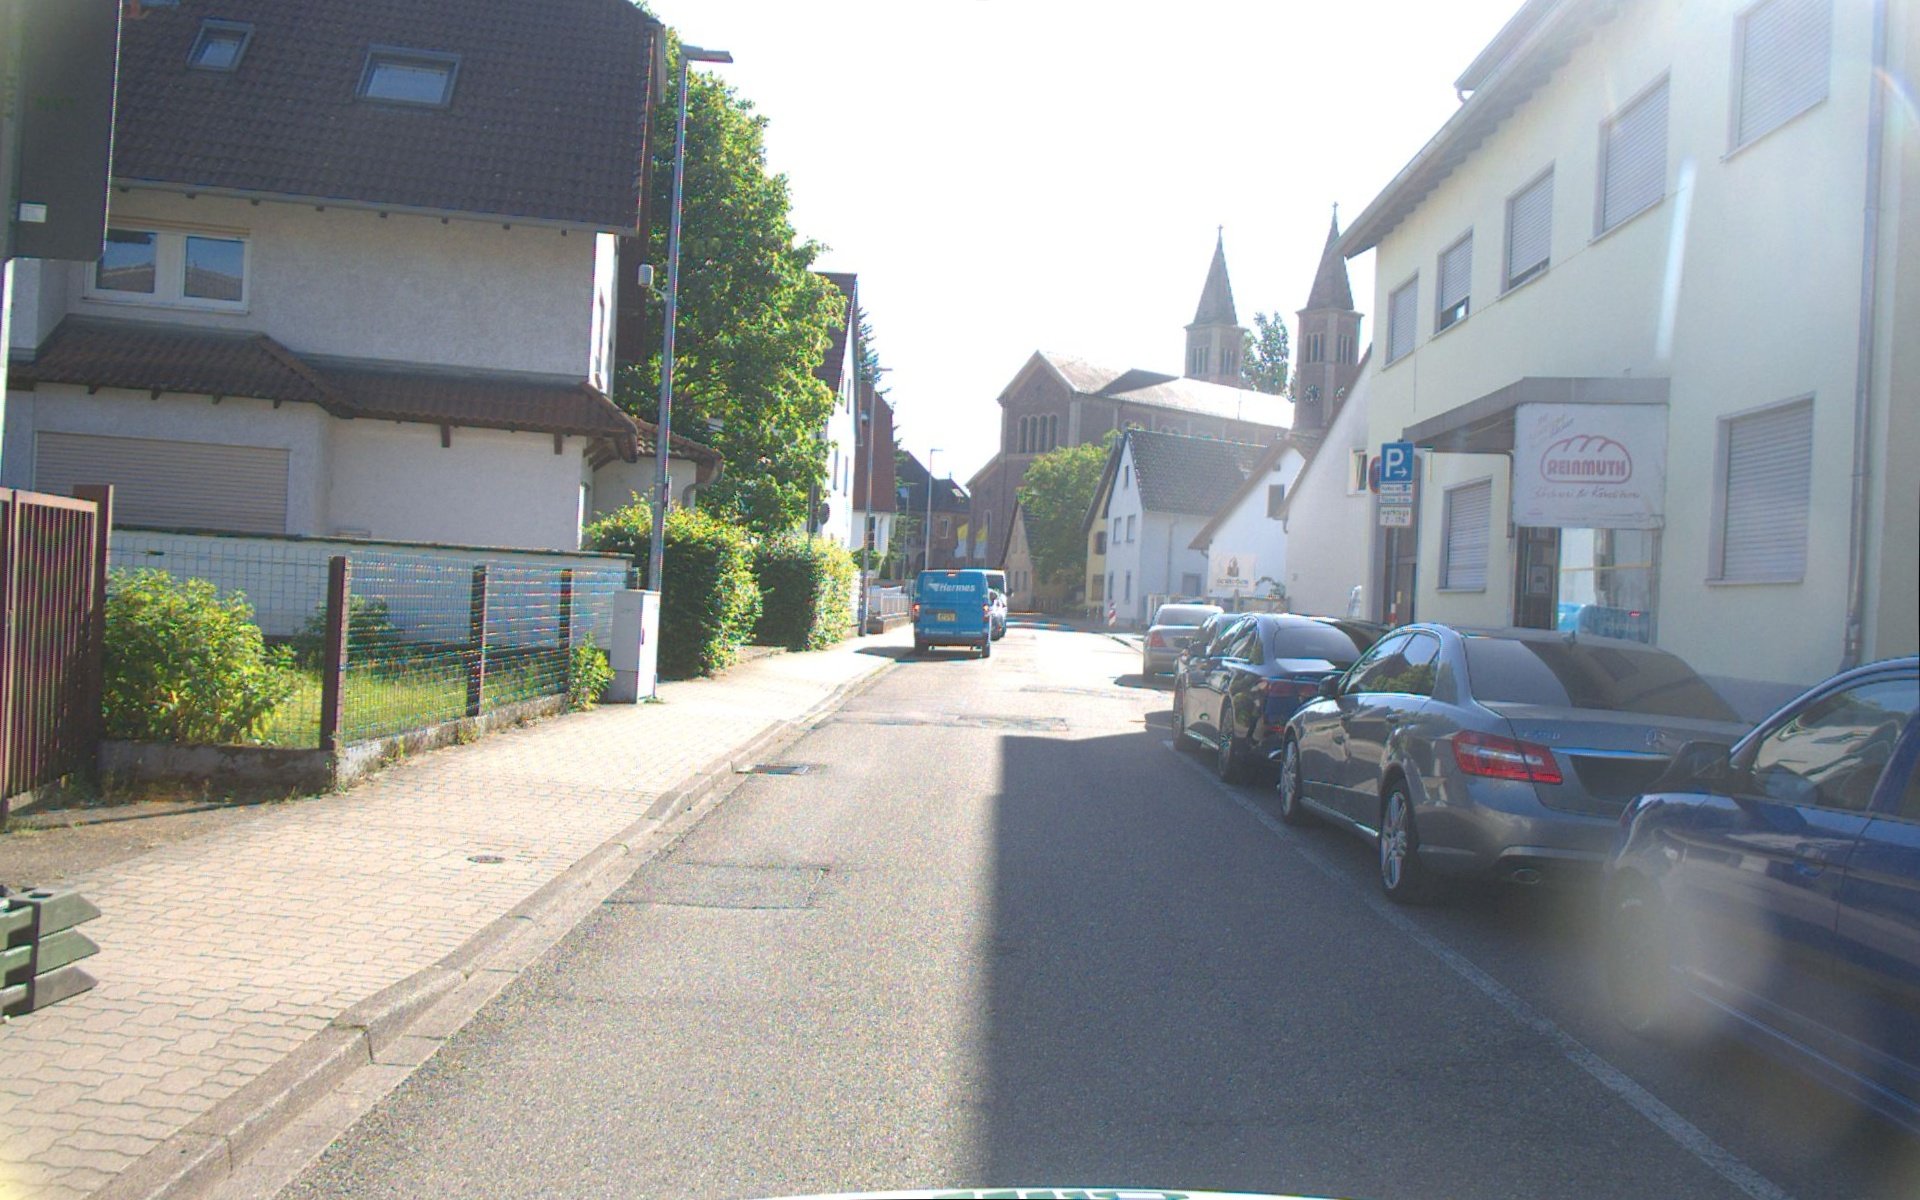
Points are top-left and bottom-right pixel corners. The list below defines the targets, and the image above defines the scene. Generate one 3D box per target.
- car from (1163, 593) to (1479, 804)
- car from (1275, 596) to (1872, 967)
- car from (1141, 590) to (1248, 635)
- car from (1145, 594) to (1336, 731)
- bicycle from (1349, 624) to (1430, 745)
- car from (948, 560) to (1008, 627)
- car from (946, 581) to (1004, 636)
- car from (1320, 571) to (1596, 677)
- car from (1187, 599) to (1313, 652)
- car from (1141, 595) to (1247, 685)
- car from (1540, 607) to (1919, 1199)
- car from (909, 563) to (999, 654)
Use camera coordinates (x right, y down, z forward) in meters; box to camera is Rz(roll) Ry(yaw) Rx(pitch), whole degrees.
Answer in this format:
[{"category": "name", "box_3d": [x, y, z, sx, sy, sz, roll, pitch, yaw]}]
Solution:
[{"category": "car", "box_3d": [3.101, 0.771, 15.264, 1.772, 1.501, 4.844, 4, 0, 0]}, {"category": "car", "box_3d": [3.180, 0.811, 9.655, 1.771, 1.500, 4.445, 4, 1, 0]}, {"category": "car", "box_3d": [8.804, 0.453, 61.939, 3.829, 1.518, 1.849, 2, 0, 11]}, {"category": "car", "box_3d": [3.660, 0.748, 22.432, 1.771, 1.500, 4.845, 4, 1, 1]}, {"category": "bicycle", "box_3d": [4.573, 0.876, 17.688, 0.497, 1.178, 1.508, 2, 0, 3]}, {"category": "car", "box_3d": [0.756, -0.260, 63.783, 2.151, 2.431, 6.066, 1, 1, 2]}, {"category": "car", "box_3d": [0.501, 0.241, 52.237, 1.679, 1.626, 3.926, 2, 1, 2]}, {"category": "car", "box_3d": [9.417, 0.437, 31.487, 4.669, 1.919, 1.907, 1, 1, -5]}, {"category": "car", "box_3d": [10.233, 0.904, 58.322, 3.987, 1.717, 1.896, 2, 1, -26]}, {"category": "car", "box_3d": [4.457, 0.713, 32.096, 1.773, 1.501, 4.663, 4, 0, 6]}, {"category": "car", "box_3d": [3.363, 0.863, 5.137, 1.690, 1.500, 3.875, 4, 1, 0]}, {"category": "car", "box_3d": [-0.075, 0.165, 39.016, 1.863, 1.951, 5.071, 2, 1, 2]}]
